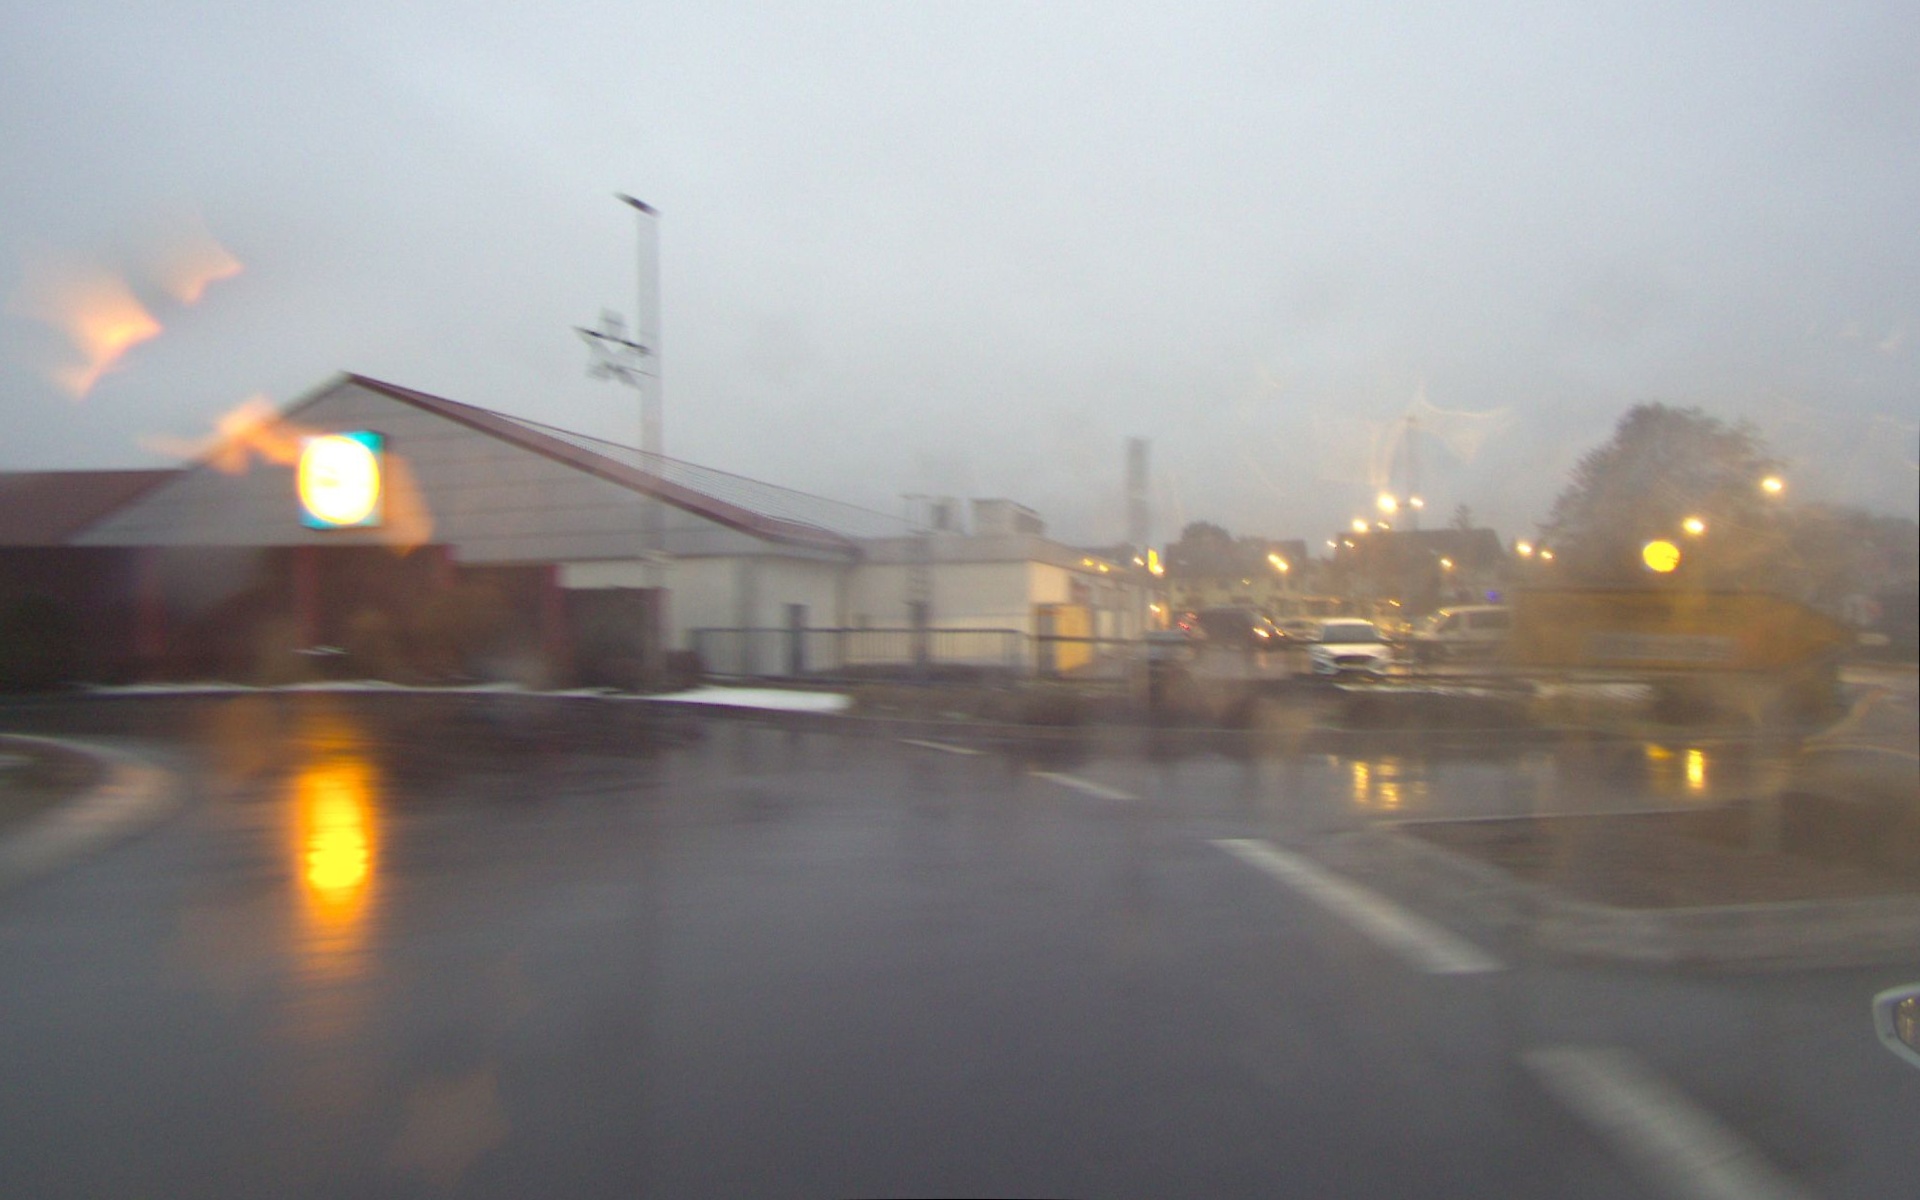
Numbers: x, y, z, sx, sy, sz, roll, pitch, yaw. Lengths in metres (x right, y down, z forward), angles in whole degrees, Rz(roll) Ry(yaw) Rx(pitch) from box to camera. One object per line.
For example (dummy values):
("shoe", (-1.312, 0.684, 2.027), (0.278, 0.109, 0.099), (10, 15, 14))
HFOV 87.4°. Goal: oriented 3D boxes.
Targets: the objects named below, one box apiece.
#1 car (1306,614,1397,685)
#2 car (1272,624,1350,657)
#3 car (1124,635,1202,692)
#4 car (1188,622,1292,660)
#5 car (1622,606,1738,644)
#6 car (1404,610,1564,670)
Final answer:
("car", (10.330, 1.222, 26.412), (2.025, 1.582, 4.278), (1, 1, 23))
("car", (18.792, 2.137, 53.902), (3.773, 1.561, 1.729), (1, 1, 15))
("car", (5.926, 1.766, 29.004), (1.805, 1.329, 4.001), (1, 1, 17))
("car", (14.252, 2.056, 51.062), (4.952, 1.688, 1.796), (1, 1, 19))
("car", (35.003, 1.207, 48.968), (4.269, 1.771, 1.706), (-1, 0, 18))
("car", (20.946, 1.561, 40.398), (5.313, 2.162, 2.034), (1, 1, 13))
